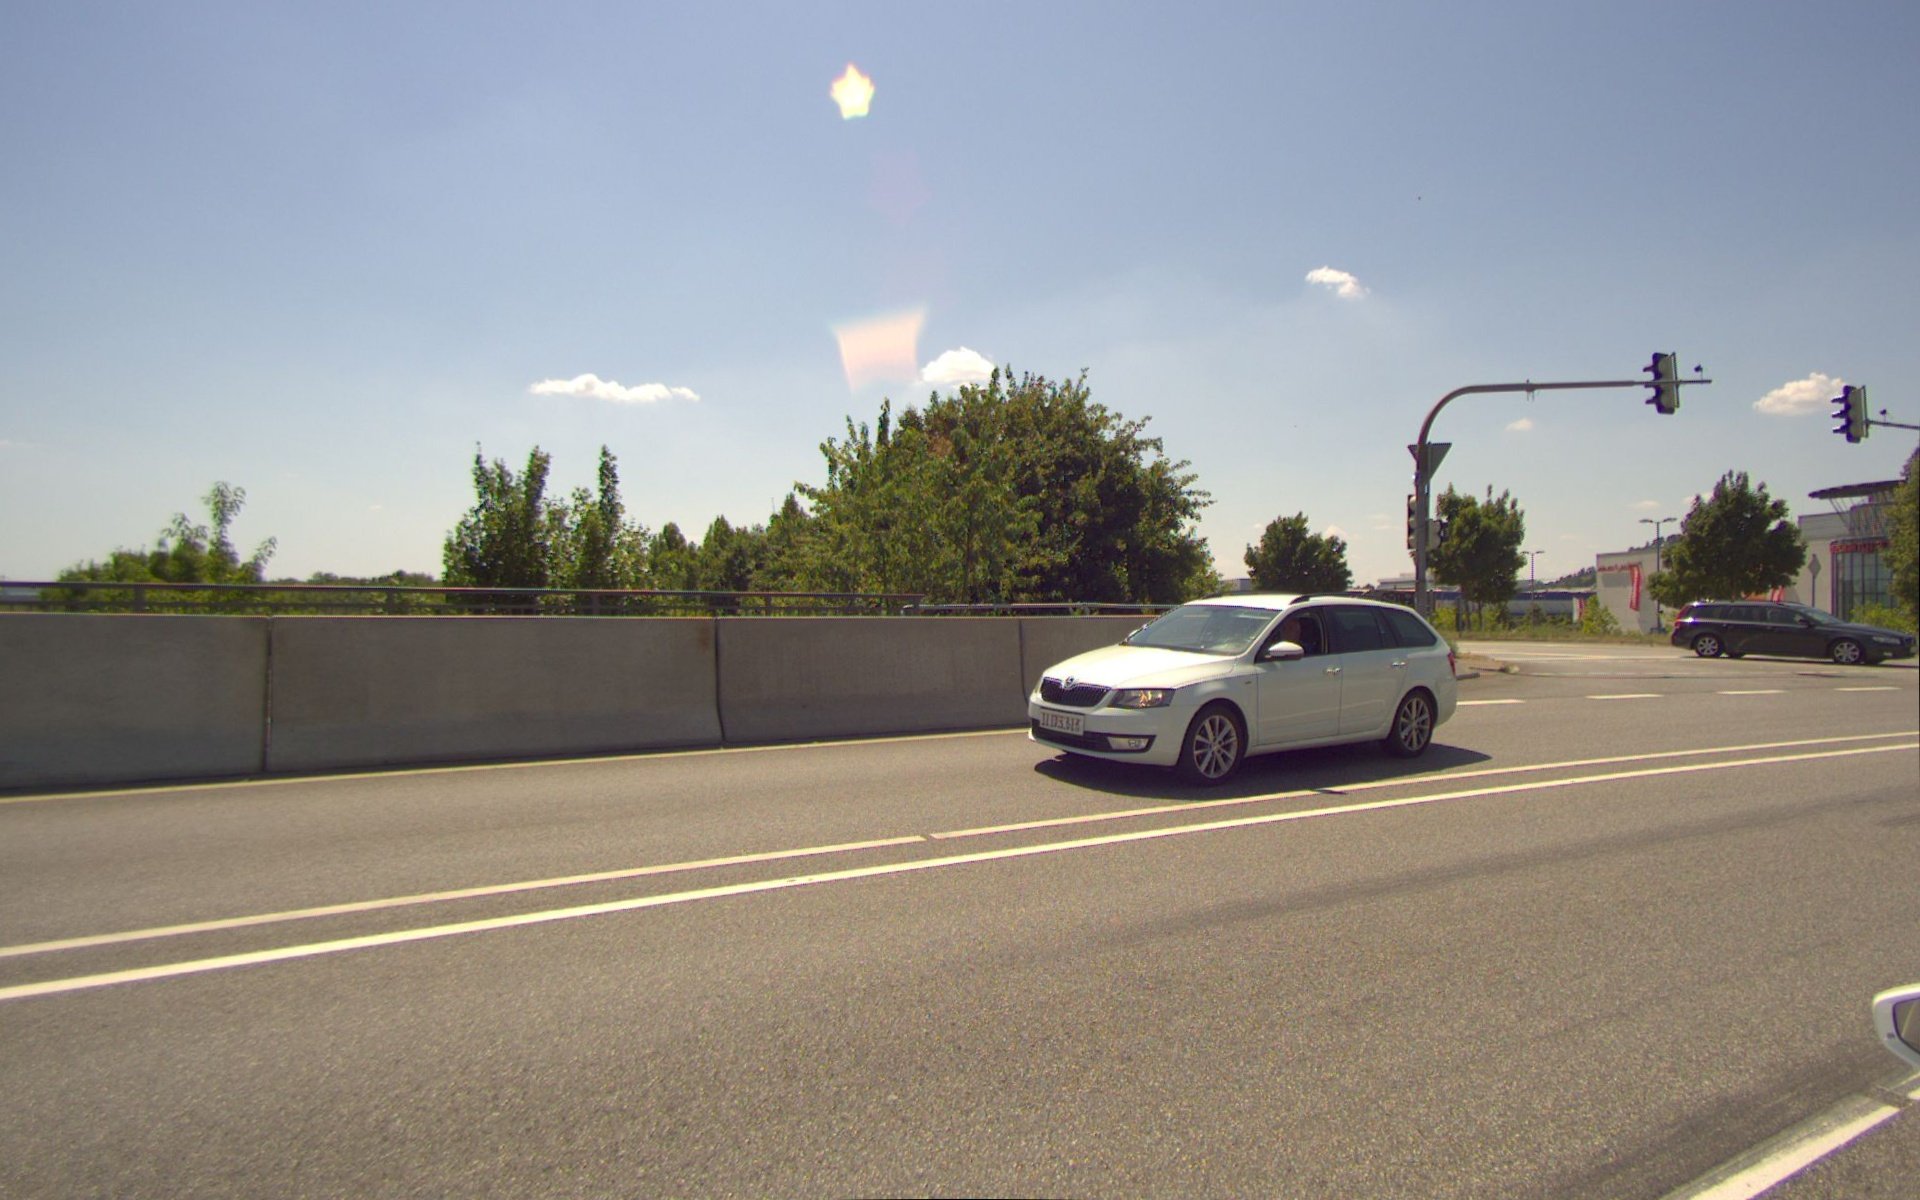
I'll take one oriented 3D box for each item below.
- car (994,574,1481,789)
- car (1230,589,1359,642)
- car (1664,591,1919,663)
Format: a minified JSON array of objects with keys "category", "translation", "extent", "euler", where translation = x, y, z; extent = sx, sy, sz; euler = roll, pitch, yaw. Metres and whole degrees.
[{"category":"car","translation":[2.641,0.588,9.090],"extent":[4.504,1.515,1.776],"euler":[1,0,-34]},{"category":"car","translation":[13.500,0.632,40.969],"extent":[2.093,1.963,5.386],"euler":[1,-1,-20]},{"category":"car","translation":[20.649,0.600,25.115],"extent":[1.717,1.566,4.693],"euler":[1,1,-31]}]
